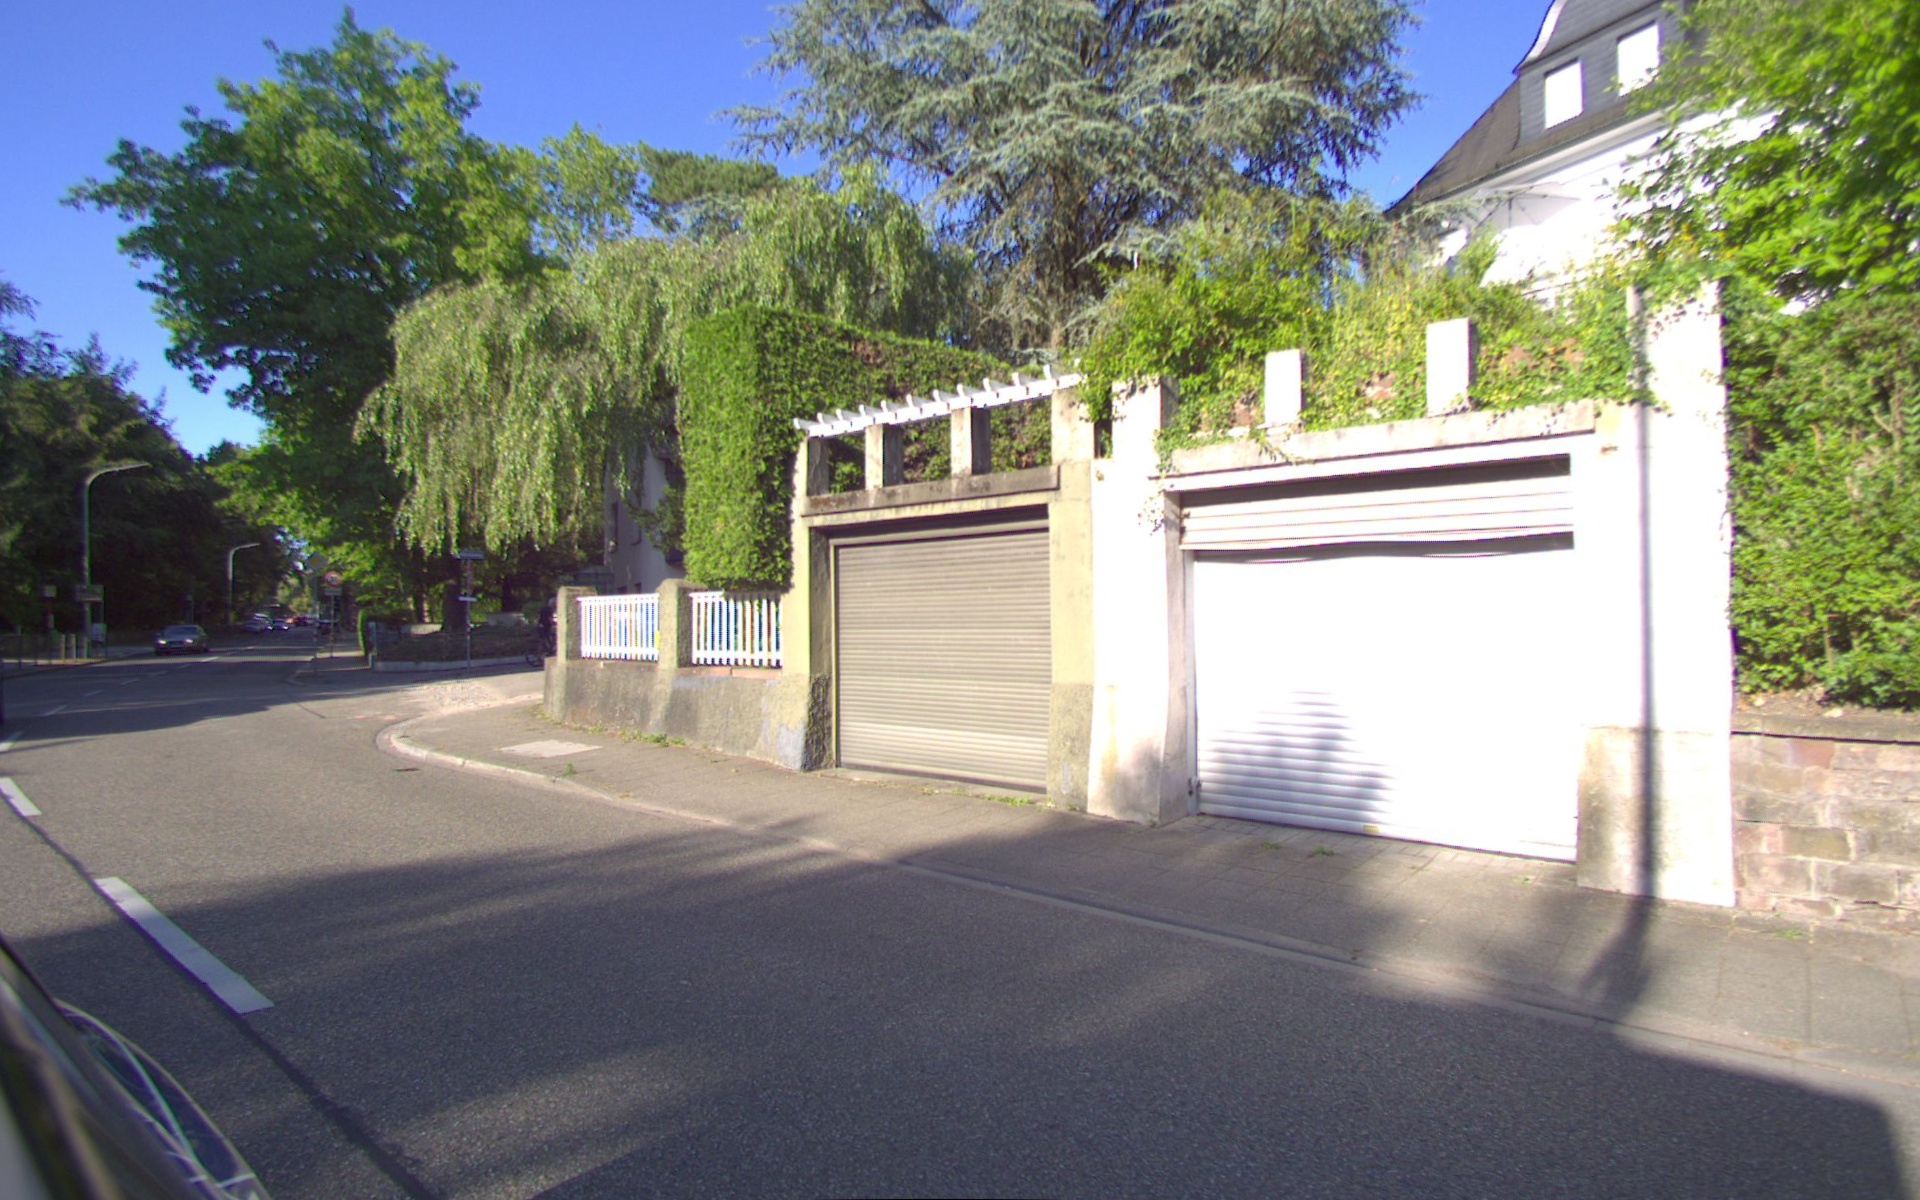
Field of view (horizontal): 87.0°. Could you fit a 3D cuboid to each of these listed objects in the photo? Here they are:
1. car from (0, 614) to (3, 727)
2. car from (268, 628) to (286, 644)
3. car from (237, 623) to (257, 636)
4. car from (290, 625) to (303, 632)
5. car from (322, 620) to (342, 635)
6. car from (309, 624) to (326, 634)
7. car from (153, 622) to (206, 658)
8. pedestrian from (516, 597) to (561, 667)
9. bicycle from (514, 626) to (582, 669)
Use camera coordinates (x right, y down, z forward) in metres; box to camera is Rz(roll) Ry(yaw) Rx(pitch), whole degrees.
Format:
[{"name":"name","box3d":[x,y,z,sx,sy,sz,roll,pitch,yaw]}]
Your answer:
[{"name":"car","box3d":[-14.083,1.024,13.334,1.908,1.699,4.438,0,-1,-41]},{"name":"car","box3d":[-91.029,4.752,134.909,1.967,2.029,4.010,-1,-1,-34]},{"name":"car","box3d":[-83.467,3.422,118.460,1.795,1.393,3.945,4,-3,-36]},{"name":"car","box3d":[-130.735,5.637,199.443,1.795,1.393,3.945,4,-3,-36]},{"name":"car","box3d":[-66.413,2.889,106.979,1.662,1.444,3.626,-4,1,-33]},{"name":"car","box3d":[-98.079,4.492,154.455,1.795,1.393,3.945,4,-3,-36]},{"name":"car","box3d":[-38.953,1.958,50.505,1.968,1.652,4.008,-3,1,-38]},{"name":"pedestrian","box3d":[-11.370,0.852,27.334,0.550,1.840,0.937,-4,-1,20]},{"name":"bicycle","box3d":[-11.095,1.269,27.300,0.557,1.051,1.805,-4,-1,21]}]
